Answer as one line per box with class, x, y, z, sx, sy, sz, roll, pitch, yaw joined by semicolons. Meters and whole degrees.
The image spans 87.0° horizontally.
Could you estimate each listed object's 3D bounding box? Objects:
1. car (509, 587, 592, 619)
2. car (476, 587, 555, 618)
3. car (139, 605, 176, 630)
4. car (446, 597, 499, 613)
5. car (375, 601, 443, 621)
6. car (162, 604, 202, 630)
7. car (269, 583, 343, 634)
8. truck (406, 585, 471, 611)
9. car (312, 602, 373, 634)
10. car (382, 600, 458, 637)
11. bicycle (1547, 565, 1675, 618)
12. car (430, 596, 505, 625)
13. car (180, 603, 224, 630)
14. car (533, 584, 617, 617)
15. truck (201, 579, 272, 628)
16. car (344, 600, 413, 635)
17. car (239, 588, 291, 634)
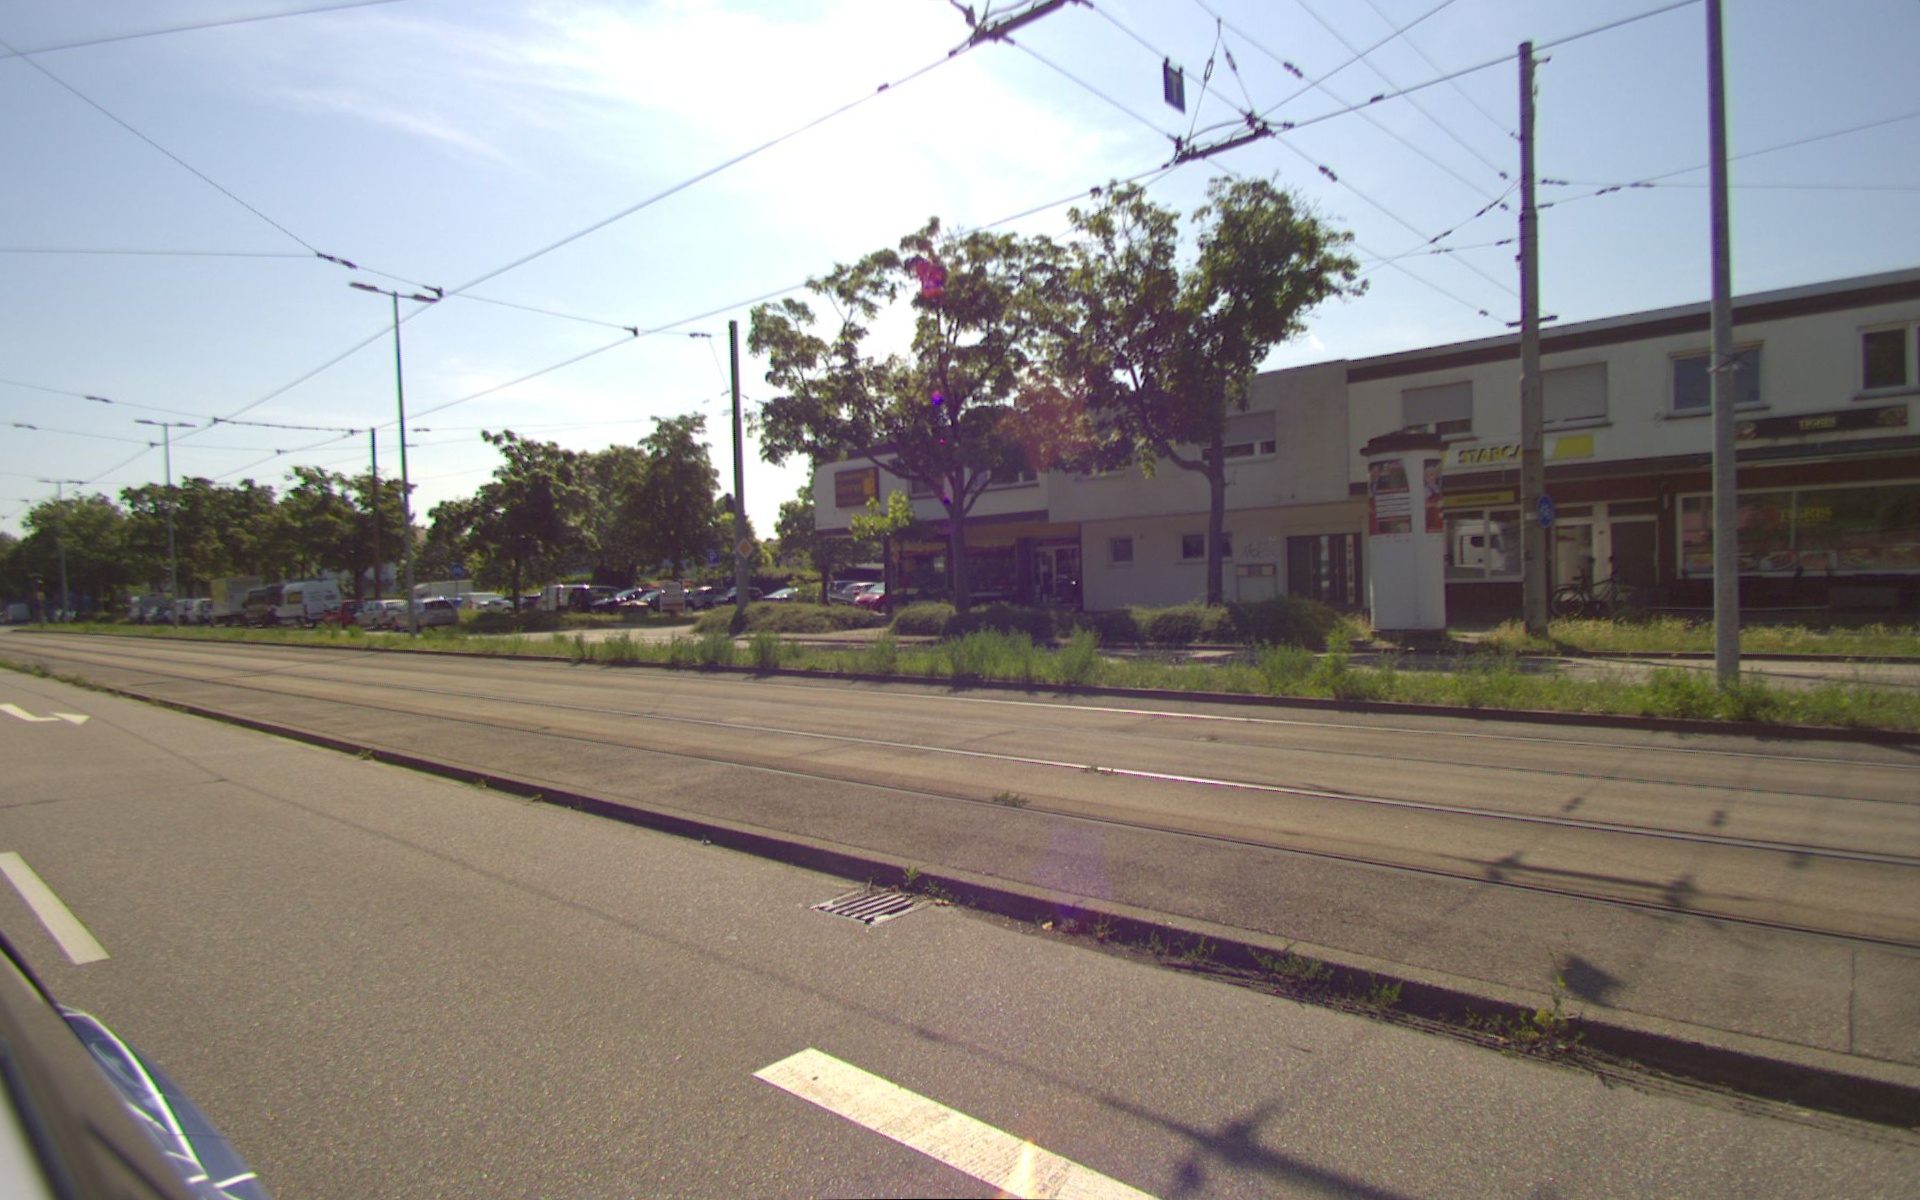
car;-24.065;0.154;59.636;1.988;1.751;4.068;-1;1;38
car;-28.055;0.148;63.964;1.988;1.751;4.068;-1;1;38
car;-64.454;1.423;81.291;3.685;1.799;1.484;-1;4;40
car;-46.052;0.467;95.629;1.676;1.345;4.198;-1;1;41
car;-42.111;0.844;77.384;1.676;1.345;4.198;-1;1;41
car;-59.790;1.292;77.756;4.056;1.859;1.484;-1;4;40
car;-37.276;0.496;57.606;5.201;2.673;2.036;-1;4;41
truck;-53.065;-0.206;103.052;1.988;2.398;5.584;-1;1;38
car;-33.177;0.953;54.326;3.791;1.544;1.654;-1;4;41
car;-25.258;0.854;47.304;4.255;1.544;1.654;-1;4;41
bicycle;14.697;-0.168;22.901;2.333;1.161;0.779;-1;-1;42
car;-33.334;0.734;68.378;5.739;1.825;2.560;-1;1;42
car;-54.770;1.187;73.074;4.631;1.817;1.483;-1;4;41
car;-22.088;0.017;58.156;1.988;1.751;4.068;-1;1;38
truck;-48.321;0.238;67.522;5.901;2.956;2.476;-1;4;42
car;-29.325;0.884;50.991;4.255;1.544;1.654;-1;4;41
car;-42.308;0.662;61.550;4.005;2.643;1.483;-1;4;41
